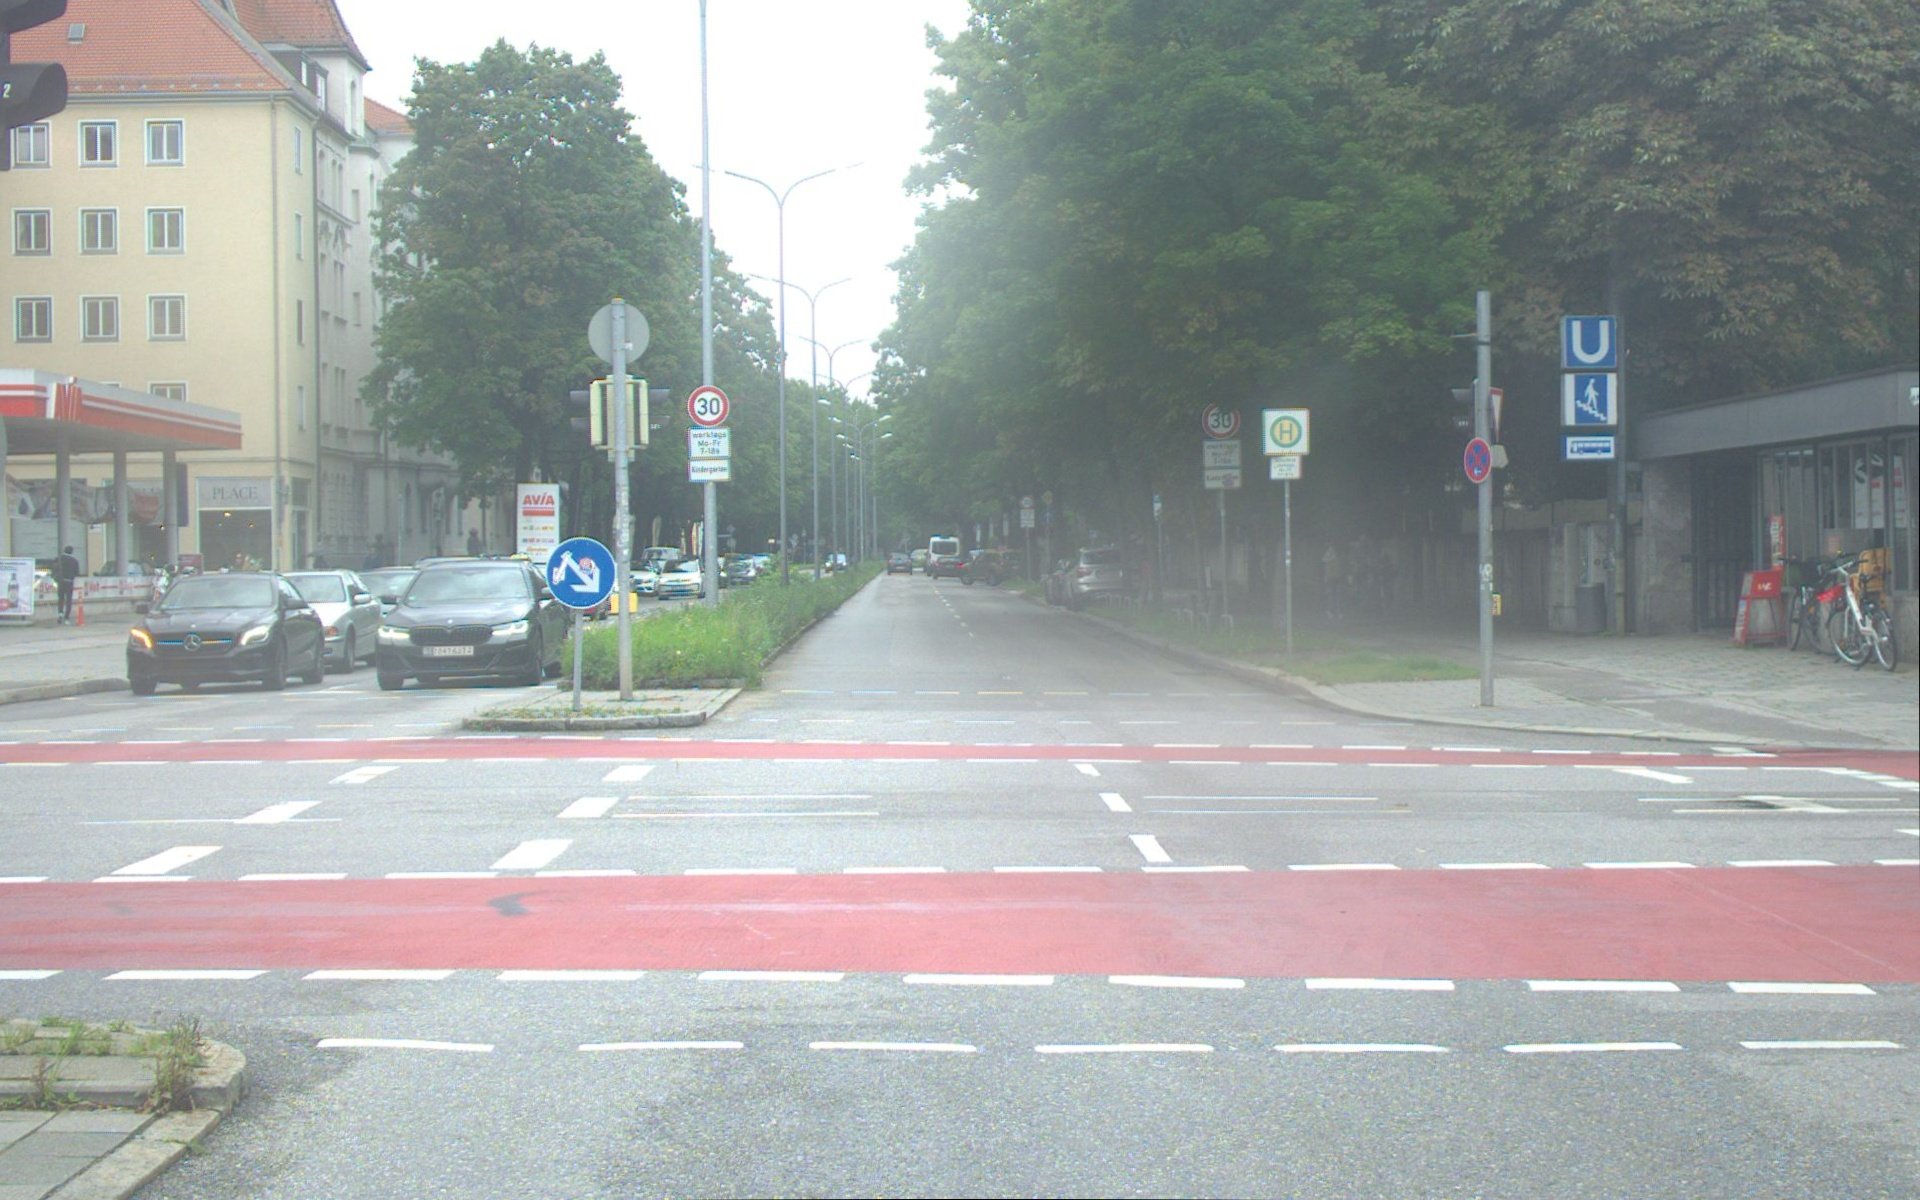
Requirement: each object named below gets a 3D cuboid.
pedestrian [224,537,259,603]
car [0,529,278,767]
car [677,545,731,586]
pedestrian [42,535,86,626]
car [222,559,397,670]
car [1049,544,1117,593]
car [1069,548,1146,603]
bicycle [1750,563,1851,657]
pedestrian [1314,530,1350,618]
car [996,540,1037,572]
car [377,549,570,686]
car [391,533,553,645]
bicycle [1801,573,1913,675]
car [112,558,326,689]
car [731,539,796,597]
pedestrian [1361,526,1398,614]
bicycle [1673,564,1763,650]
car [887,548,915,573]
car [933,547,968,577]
[{"bbox_3d":[-17.878,-0.758,85.557,0.696,1.632,0.738,-1,1,-1],"label":"pedestrian"},{"bbox_3d":[-6.786,0.305,22.884,4.168,1.508,1.695,-1,1,-1],"label":"car"},{"bbox_3d":[-9.391,-1.297,126.489,1.759,1.455,4.000,-1,1,-1],"label":"car"},{"bbox_3d":[-19.941,-0.428,76.547,0.730,2.007,0.834,1,0,-1],"label":"pedestrian"},{"bbox_3d":[-9.108,0.174,48.425,1.759,1.455,4.000,-1,1,-1],"label":"car"},{"bbox_3d":[3.544,-0.929,99.700,1.743,1.358,3.807,-1,1,-1],"label":"car"},{"bbox_3d":[3.832,-0.654,89.741,1.743,1.358,3.807,-1,1,-1],"label":"car"},{"bbox_3d":[9.480,0.102,38.823,0.556,1.011,2.016,-1,1,-3],"label":"bicycle"},{"bbox_3d":[7.148,-0.502,66.066,0.678,1.677,0.682,0,1,5],"label":"pedestrian"},{"bbox_3d":[2.638,-2.058,160.410,1.743,1.422,3.899,-1,1,-1],"label":"car"},{"bbox_3d":[-5.661,0.167,40.392,1.759,1.488,4.000,-1,1,-1],"label":"car"},{"bbox_3d":[-6.795,-0.184,48.193,1.759,1.488,4.000,-1,1,-1],"label":"car"},{"bbox_3d":[9.403,0.239,36.087,0.556,1.011,2.016,-1,1,-3],"label":"bicycle"},{"bbox_3d":[-8.850,0.245,41.354,1.759,1.455,4.000,-1,1,-1],"label":"car"},{"bbox_3d":[-4.878,-0.814,85.633,1.468,1.394,3.700,-1,1,-1],"label":"car"},{"bbox_3d":[8.070,-0.587,66.214,0.678,1.677,0.682,0,1,5],"label":"pedestrian"},{"bbox_3d":[9.256,0.074,42.031,0.556,1.011,2.016,-1,1,-3],"label":"bicycle"},{"bbox_3d":[-4.006,-2.672,232.211,1.857,1.678,4.000,-1,1,-1],"label":"car"},{"bbox_3d":[-0.558,-2.185,197.281,1.922,1.678,4.000,-1,1,-1],"label":"car"}]
